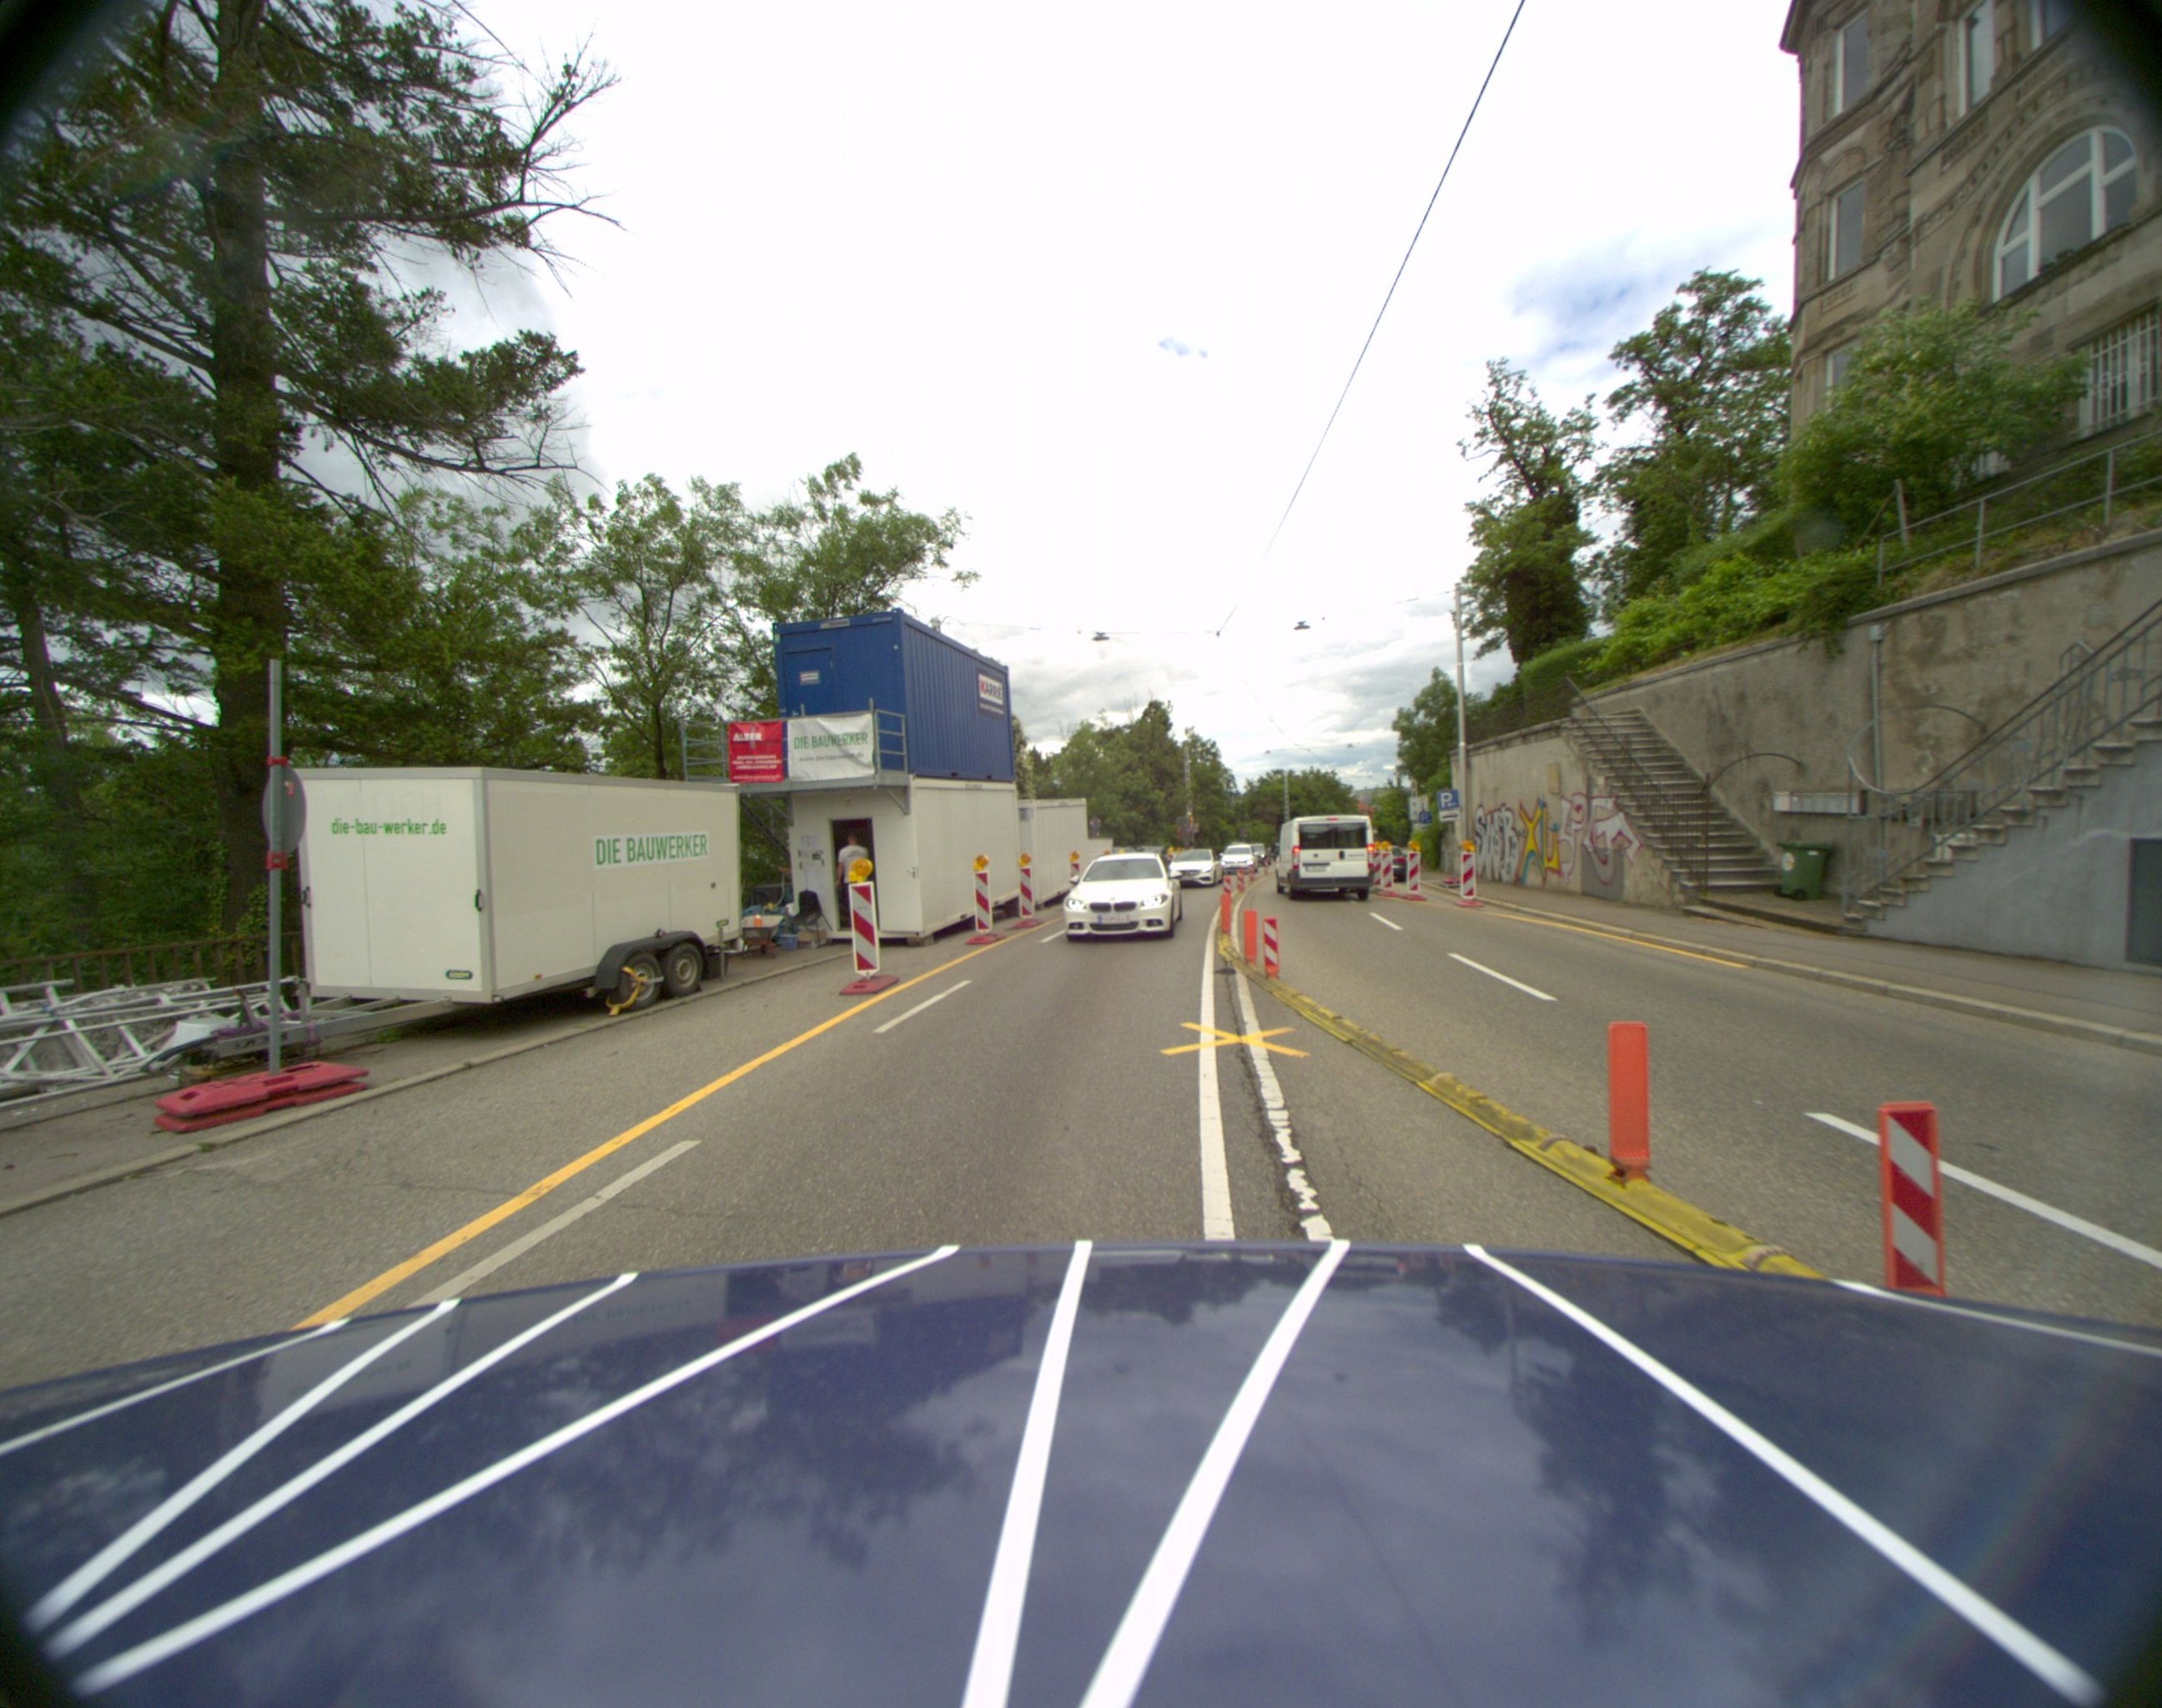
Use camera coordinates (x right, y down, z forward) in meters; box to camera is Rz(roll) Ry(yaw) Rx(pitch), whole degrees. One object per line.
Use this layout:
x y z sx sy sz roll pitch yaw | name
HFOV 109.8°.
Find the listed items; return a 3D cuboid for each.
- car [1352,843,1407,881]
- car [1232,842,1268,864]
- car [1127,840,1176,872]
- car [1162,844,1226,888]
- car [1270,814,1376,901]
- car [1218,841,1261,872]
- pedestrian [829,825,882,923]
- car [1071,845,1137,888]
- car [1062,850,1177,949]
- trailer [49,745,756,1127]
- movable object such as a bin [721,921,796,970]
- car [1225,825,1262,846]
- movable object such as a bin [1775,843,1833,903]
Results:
11.927 0.259 30.623 1.801 1.365 4.393 1 1 18 | car
12.272 -0.123 55.027 1.795 1.502 4.006 1 2 24 | car
4.267 0.059 45.431 1.863 1.665 4.651 4 3 17 | car
4.452 0.429 29.364 1.790 1.472 4.249 -2 1 17 | car
6.703 0.076 21.575 2.071 2.175 4.965 0 1 8 | car
8.696 0.095 41.334 1.790 1.542 4.250 -2 1 18 | car
-3.989 0.344 13.406 0.651 1.652 0.649 -5 1 -30 | pedestrian
1.106 0.499 33.493 1.842 1.633 4.507 -3 1 15 | car
0.851 0.725 14.245 1.791 1.472 4.246 -2 1 6 | car
-5.732 0.514 7.689 2.111 2.535 5.121 -1 1 7 | trailer
-5.060 1.424 11.978 0.705 0.636 0.887 0 1 10 | movable object such as a bin
14.000 -1.614 65.313 1.854 1.665 4.286 5 4 29 | car
11.332 0.285 11.920 0.454 0.906 0.508 -2 1 13 | movable object such as a bin
